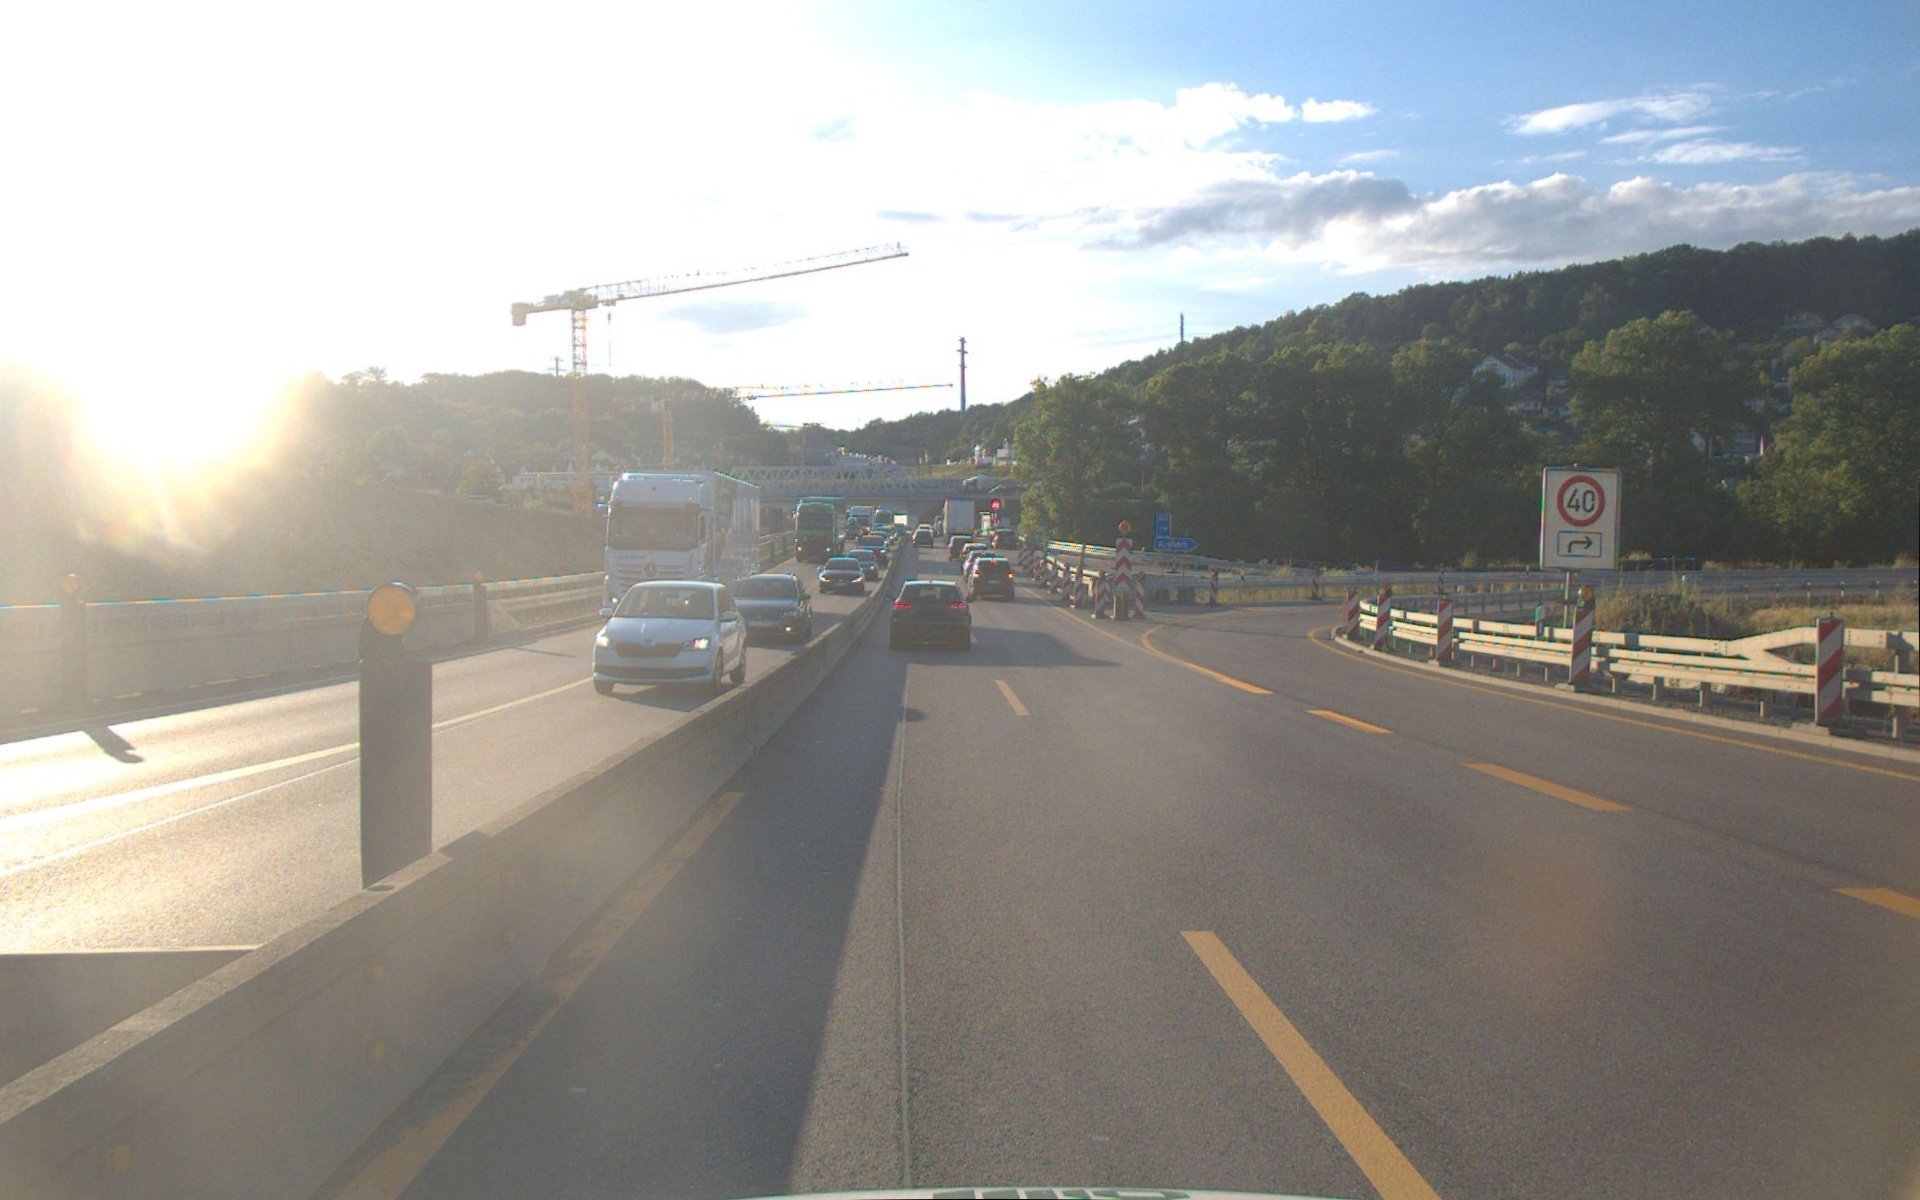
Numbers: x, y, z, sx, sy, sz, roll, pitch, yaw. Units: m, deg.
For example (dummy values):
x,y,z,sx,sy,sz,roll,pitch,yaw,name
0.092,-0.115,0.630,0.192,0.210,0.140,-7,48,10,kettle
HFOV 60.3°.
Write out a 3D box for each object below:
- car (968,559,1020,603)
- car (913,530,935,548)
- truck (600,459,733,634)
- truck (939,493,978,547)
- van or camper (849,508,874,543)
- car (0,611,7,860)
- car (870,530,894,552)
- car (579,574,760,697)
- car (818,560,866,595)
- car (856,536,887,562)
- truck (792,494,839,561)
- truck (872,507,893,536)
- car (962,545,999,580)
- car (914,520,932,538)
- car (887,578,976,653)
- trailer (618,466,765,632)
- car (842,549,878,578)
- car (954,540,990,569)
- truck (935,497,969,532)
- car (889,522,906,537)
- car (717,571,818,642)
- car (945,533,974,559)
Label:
x,y,z,sx,sy,sz,roll,pitch,yaw,name
1.311,-0.745,66.313,1.776,1.643,4.524,2,0,-2,car
-3.063,-5.187,139.428,1.825,1.444,4.000,2,3,-2,car
-7.738,-1.368,44.251,2.501,4.294,6.049,2,1,-1,truck
-0.235,-7.550,153.799,3.317,4.574,15.272,1,4,-1,truck
-10.362,-7.888,173.889,2.408,3.558,7.414,1,3,-2,van or camper
-5.196,0.710,5.032,1.751,1.381,4.636,2,0,2,car
-6.868,-5.173,145.537,1.953,1.825,3.999,2,1,-1,car
-3.944,0.449,23.122,1.752,1.514,4.219,2,0,0,car
-4.992,-0.975,70.207,1.799,1.434,4.494,0,1,-1,car
-5.585,-3.226,104.824,1.873,1.637,4.494,0,1,-1,car
-9.271,-4.696,106.841,2.714,4.151,5.774,1,2,-3,truck
-11.229,-11.391,240.762,2.757,4.118,5.673,0,3,0,truck
0.998,-1.913,83.065,1.738,1.613,4.136,1,3,-1,car
-3.908,-7.572,176.617,1.884,1.579,3.999,1,-1,-1,car
-0.664,0.291,35.509,1.735,1.414,3.998,1,2,-3,car
-7.882,-1.428,50.476,2.480,4.287,13.930,2,1,-2,trailer
-5.133,-1.895,85.128,1.681,1.434,4.327,0,1,-1,car
0.675,-2.651,96.073,1.838,1.627,4.964,0,2,-2,car
-1.219,-11.823,227.048,3.813,4.575,13.843,1,3,-4,truck
-7.389,-8.386,196.161,1.884,1.579,4.000,1,1,-1,car
-4.307,0.116,37.657,1.812,1.509,4.510,0,1,-1,car
-0.026,-3.669,111.577,1.778,1.660,4.410,1,2,-2,car
